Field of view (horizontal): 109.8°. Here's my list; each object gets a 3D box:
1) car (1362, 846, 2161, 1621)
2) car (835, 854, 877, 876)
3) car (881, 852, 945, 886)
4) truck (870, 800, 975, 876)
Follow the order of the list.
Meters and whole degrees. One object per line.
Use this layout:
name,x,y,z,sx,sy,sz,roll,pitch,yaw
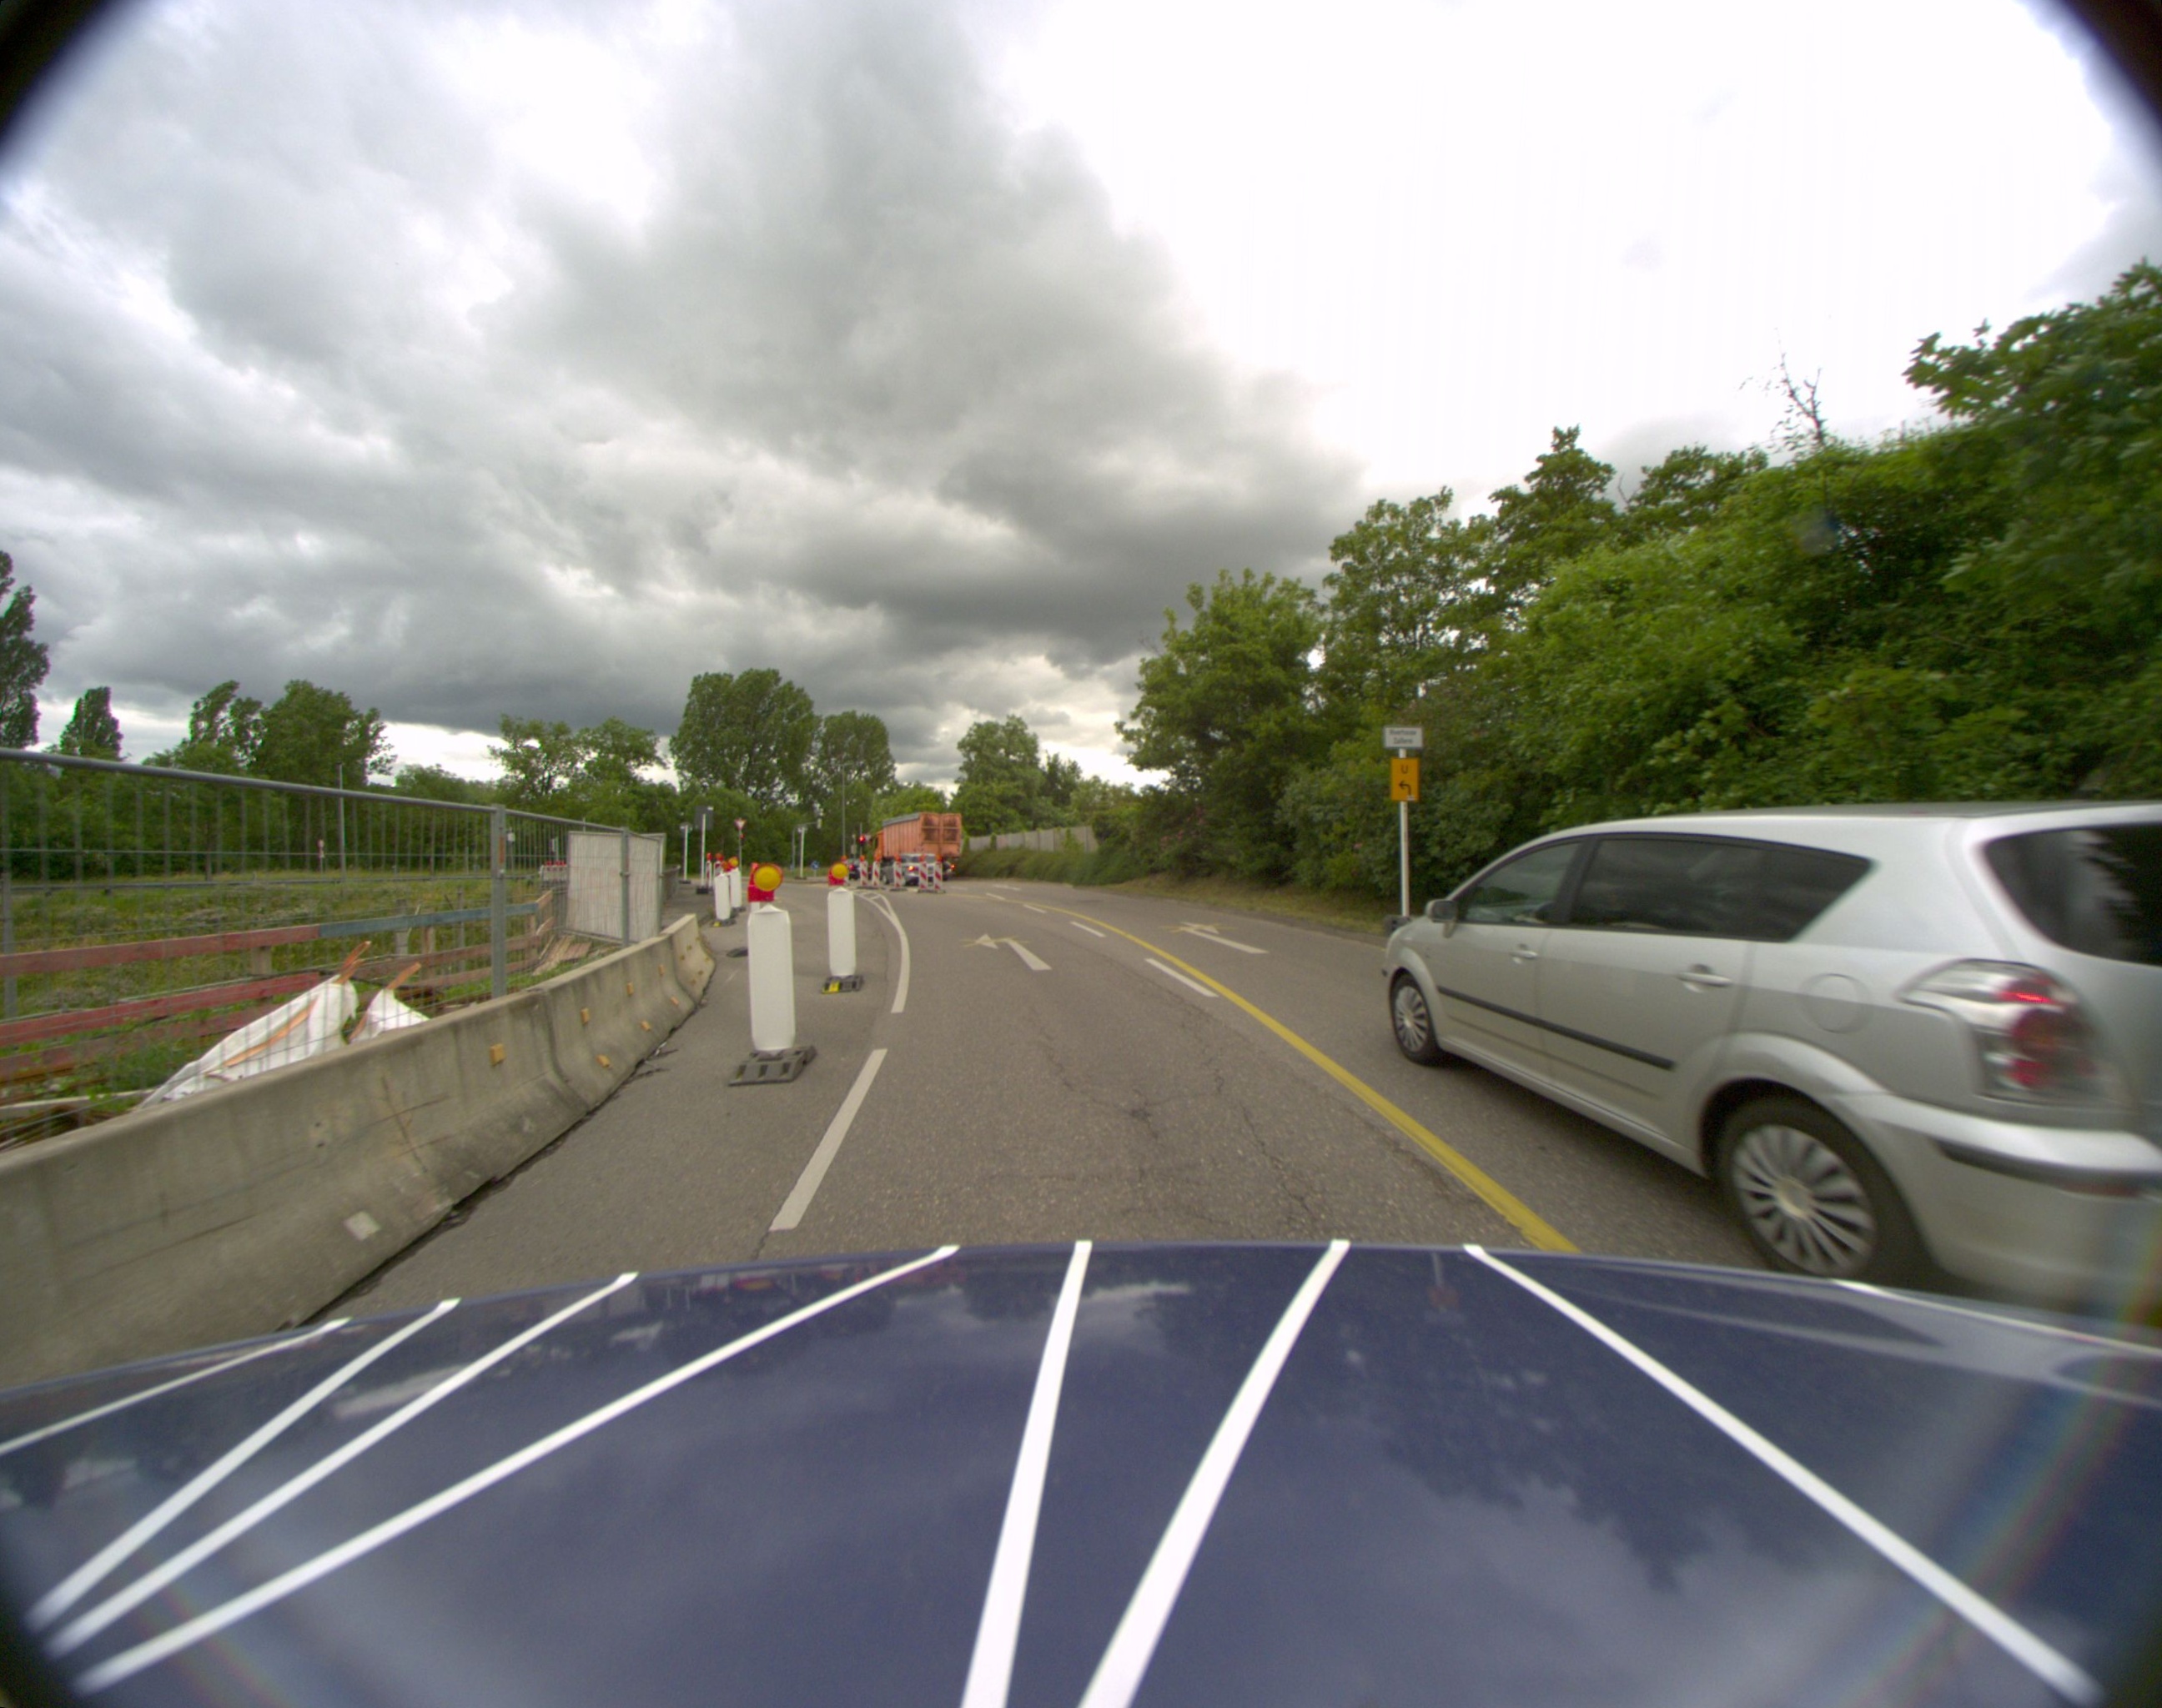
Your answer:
car,2.988,0.762,3.650,1.660,1.543,4.186,-2,1,0
car,-16.332,0.845,55.095,1.647,1.542,3.778,2,-2,-38
car,-8.339,0.703,37.466,1.640,1.536,4.340,-2,1,-32
truck,-9.960,-0.890,46.655,3.125,4.196,9.769,-1,1,-31
